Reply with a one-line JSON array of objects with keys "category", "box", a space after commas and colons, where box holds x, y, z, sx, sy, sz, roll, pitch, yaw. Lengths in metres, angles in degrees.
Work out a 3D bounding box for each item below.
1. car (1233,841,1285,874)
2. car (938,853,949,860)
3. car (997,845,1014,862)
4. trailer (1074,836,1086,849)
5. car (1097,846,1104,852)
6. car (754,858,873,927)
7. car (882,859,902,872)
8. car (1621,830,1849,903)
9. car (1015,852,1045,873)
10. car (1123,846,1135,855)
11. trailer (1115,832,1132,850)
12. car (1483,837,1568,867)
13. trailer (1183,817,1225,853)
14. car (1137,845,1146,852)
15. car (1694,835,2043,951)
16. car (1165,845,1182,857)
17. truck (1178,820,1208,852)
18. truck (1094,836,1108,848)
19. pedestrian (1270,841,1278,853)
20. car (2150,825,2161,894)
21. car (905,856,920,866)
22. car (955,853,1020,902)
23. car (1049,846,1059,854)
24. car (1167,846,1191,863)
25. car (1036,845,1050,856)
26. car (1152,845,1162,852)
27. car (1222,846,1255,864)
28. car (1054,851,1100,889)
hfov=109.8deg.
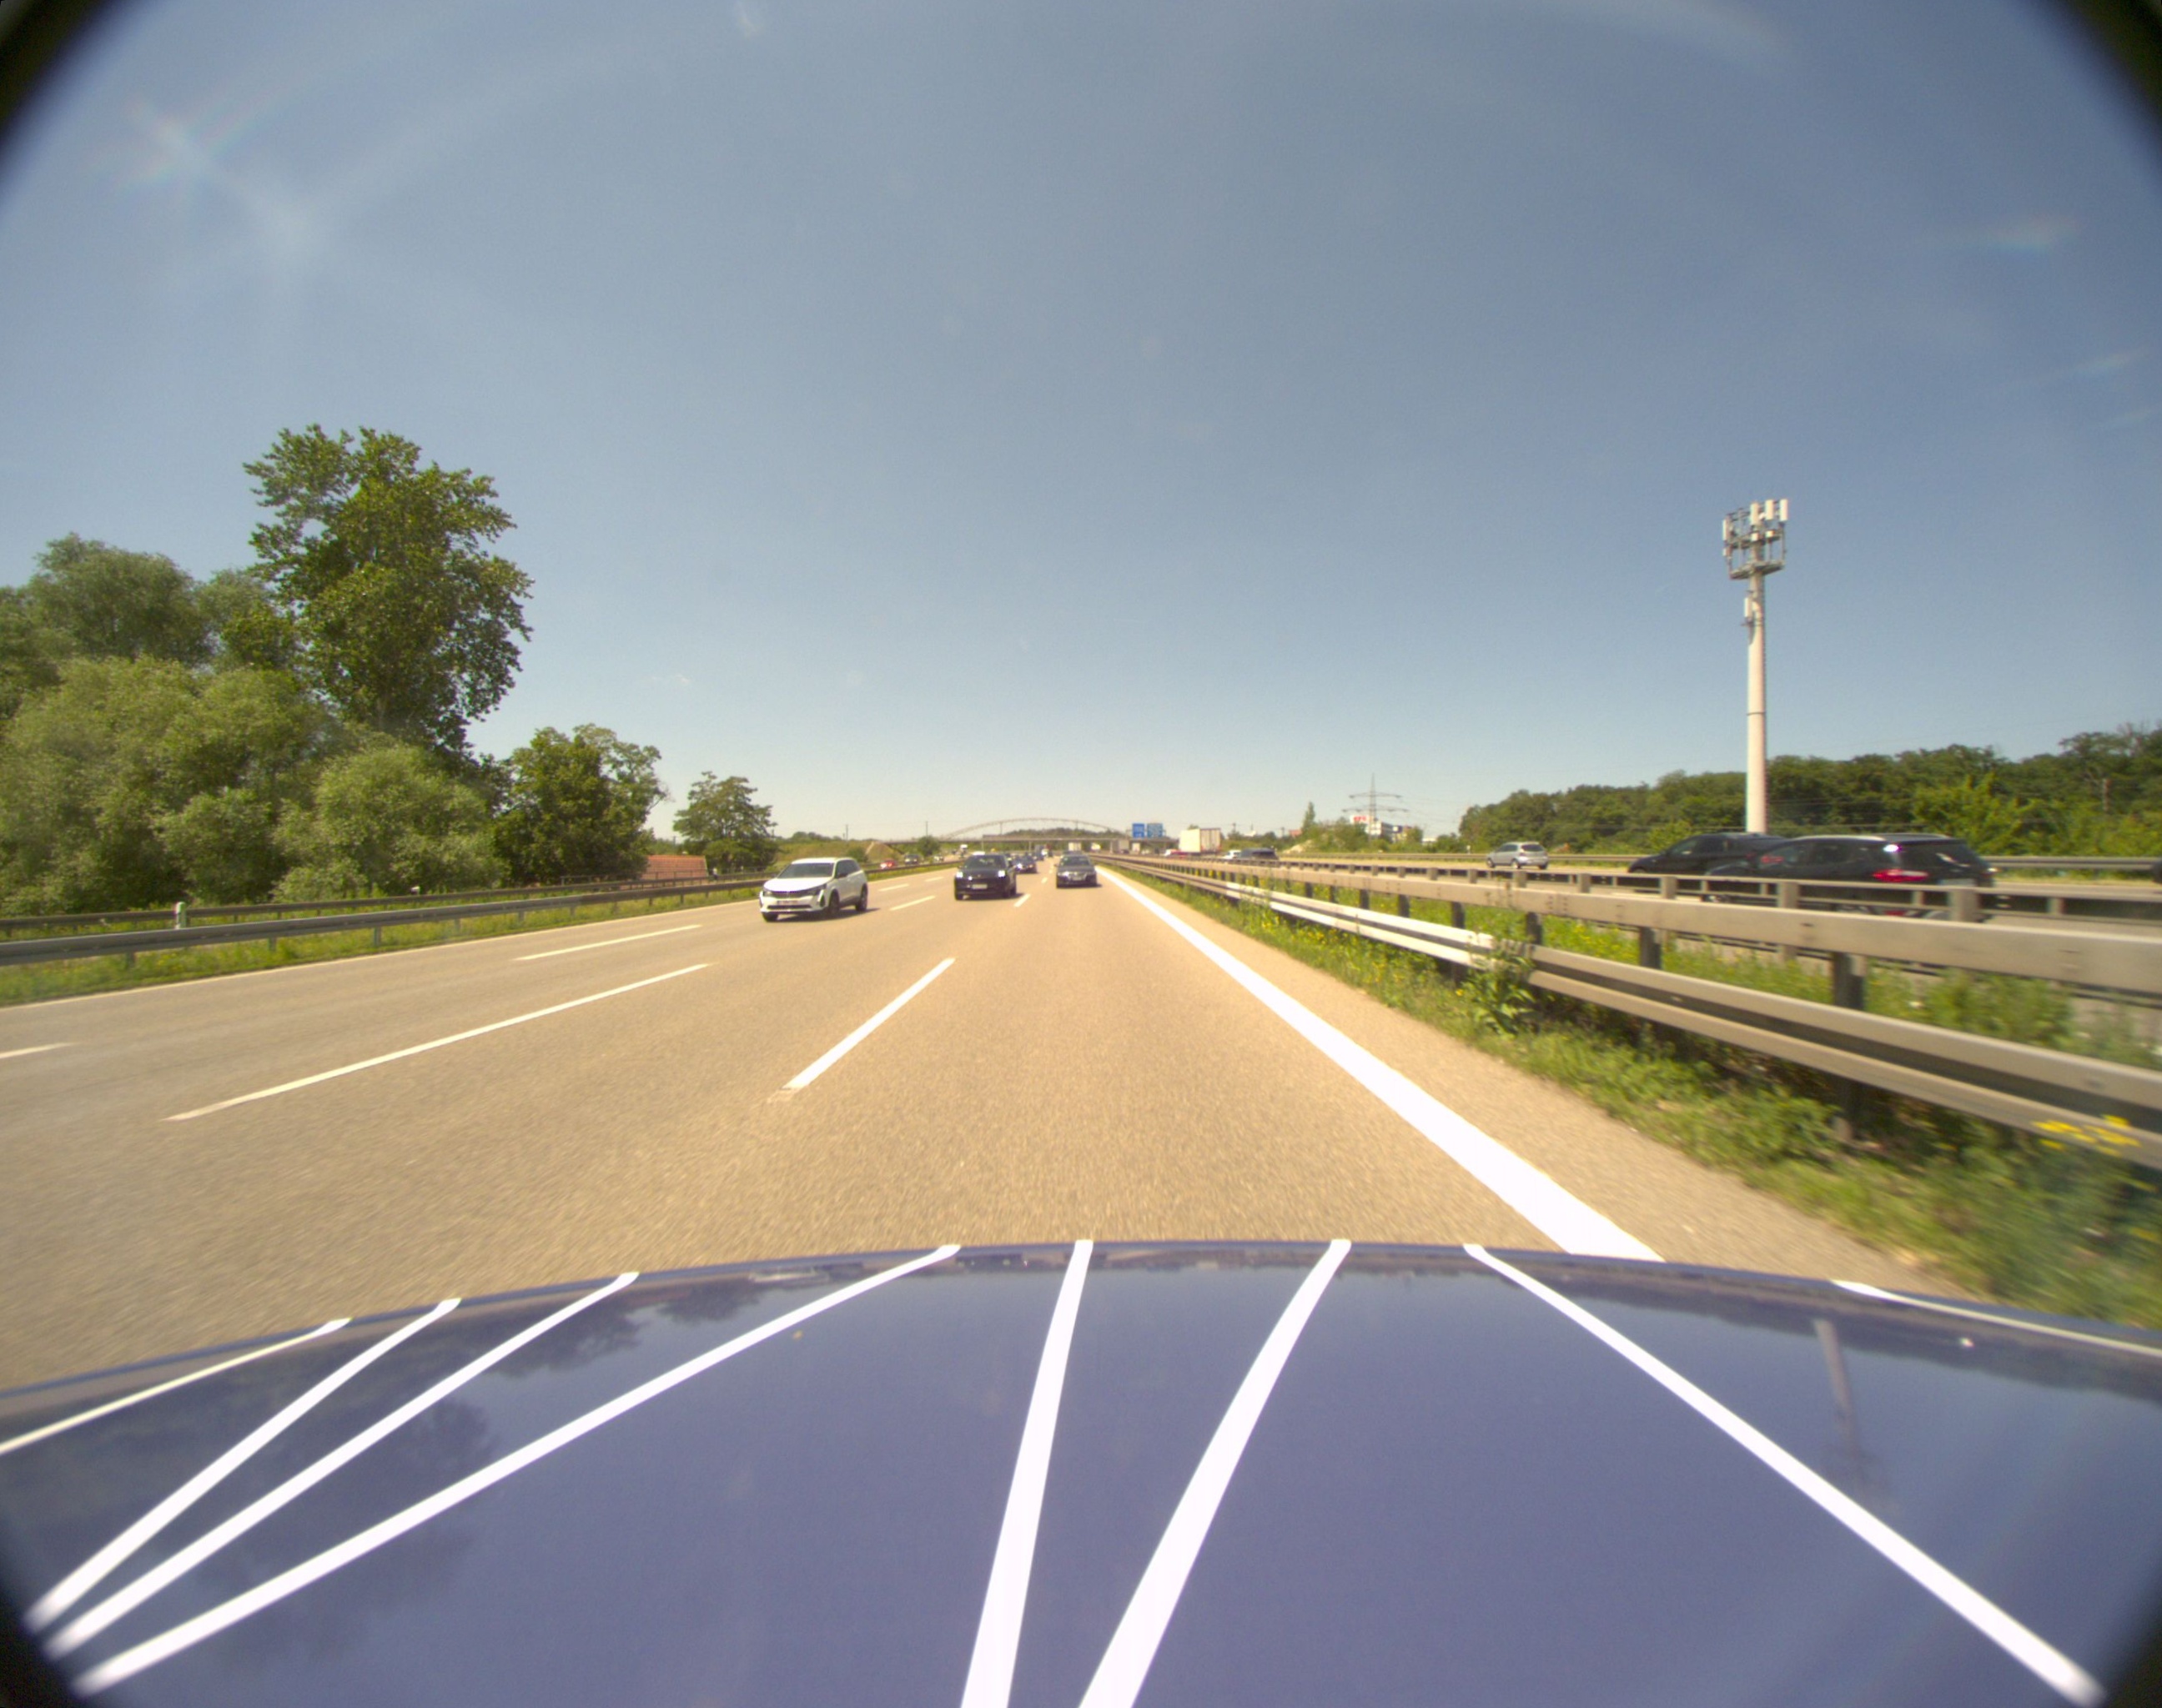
[{"category": "car", "box": [9.333, 0.132, 40.098, 1.679, 1.605, 4.361, -2, 1, 0]}, {"category": "car", "box": [-31.158, 0.562, 172.424, 1.704, 1.566, 4.127, -2, 1, -1]}, {"category": "car", "box": [-8.841, -0.096, 89.239, 1.809, 1.908, 4.292, -2, 1, -4]}, {"category": "trailer", "box": [-0.404, -3.905, 255.580, 2.963, 4.347, 10.727, -2, 1, -4]}, {"category": "car", "box": [5.462, -1.319, 212.768, 1.883, 1.604, 3.999, -2, 1, -3]}, {"category": "car", "box": [-7.365, 0.988, 21.427, 1.748, 1.582, 4.618, -2, 1, -1]}, {"category": "car", "box": [-25.424, 1.534, 102.308, 1.704, 1.566, 4.126, -2, 1, -3]}, {"category": "car", "box": [16.964, 0.264, 20.130, 1.852, 1.646, 4.909, -2, 1, 1]}, {"category": "car", "box": [-3.857, 0.628, 57.884, 1.931, 1.390, 4.116, -2, 1, 0]}, {"category": "car", "box": [9.666, -0.765, 153.712, 1.999, 1.635, 4.662, -2, 0, -1]}, {"category": "trailer", "box": [10.255, -3.148, 186.088, 2.898, 4.090, 12.581, -2, 1, -2]}, {"category": "car", "box": [24.318, -0.121, 41.779, 2.110, 1.523, 4.371, -2, 1, 0]}, {"category": "trailer", "box": [15.896, -2.396, 99.206, 3.043, 4.216, 12.244, -2, 1, -2]}, {"category": "car", "box": [16.227, -1.482, 203.587, 1.883, 1.604, 3.999, -2, 1, -3]}, {"category": "car", "box": [12.879, 0.519, 12.875, 1.679, 1.616, 4.084, -2, 1, 0]}, {"category": "car", "box": [11.925, -0.408, 98.649, 1.745, 1.480, 4.007, -2, 1, 1]}, {"category": "truck", "box": [15.704, -2.503, 106.902, 3.043, 4.216, 6.683, -2, 1, 0]}, {"category": "truck", "box": [6.483, -3.903, 245.650, 3.228, 3.764, 12.894, -2, 1, -4]}, {"category": "pedestrian", "box": [22.423, -0.797, 88.402, 0.652, 1.309, 1.035, -2, 1, -1]}, {"category": "car", "box": [24.899, 0.124, 14.917, 1.852, 1.523, 4.222, -2, 1, -1]}, {"category": "car", "box": [-28.750, 1.150, 129.872, 1.704, 1.566, 4.126, -2, 1, -3]}, {"category": "car", "box": [-3.366, 0.800, 28.087, 1.932, 1.586, 4.130, -2, 1, -1]}, {"category": "car", "box": [-6.502, -0.954, 181.528, 1.999, 1.849, 3.997, -2, 1, -5]}, {"category": "car", "box": [9.159, 0.008, 71.249, 1.661, 1.416, 4.775, -2, 1, 1]}, {"category": "car", "box": [-6.372, -0.536, 128.008, 1.925, 1.762, 3.999, -2, 1, 1]}, {"category": "car", "box": [18.956, -1.323, 189.716, 1.883, 1.604, 3.999, -2, 1, -3]}, {"category": "car", "box": [12.925, 0.048, 62.565, 1.662, 1.395, 4.758, -2, 1, 0]}, {"category": "car", "box": [-0.243, 0.678, 34.703, 1.932, 1.499, 4.389, -2, 1, -2]}]
